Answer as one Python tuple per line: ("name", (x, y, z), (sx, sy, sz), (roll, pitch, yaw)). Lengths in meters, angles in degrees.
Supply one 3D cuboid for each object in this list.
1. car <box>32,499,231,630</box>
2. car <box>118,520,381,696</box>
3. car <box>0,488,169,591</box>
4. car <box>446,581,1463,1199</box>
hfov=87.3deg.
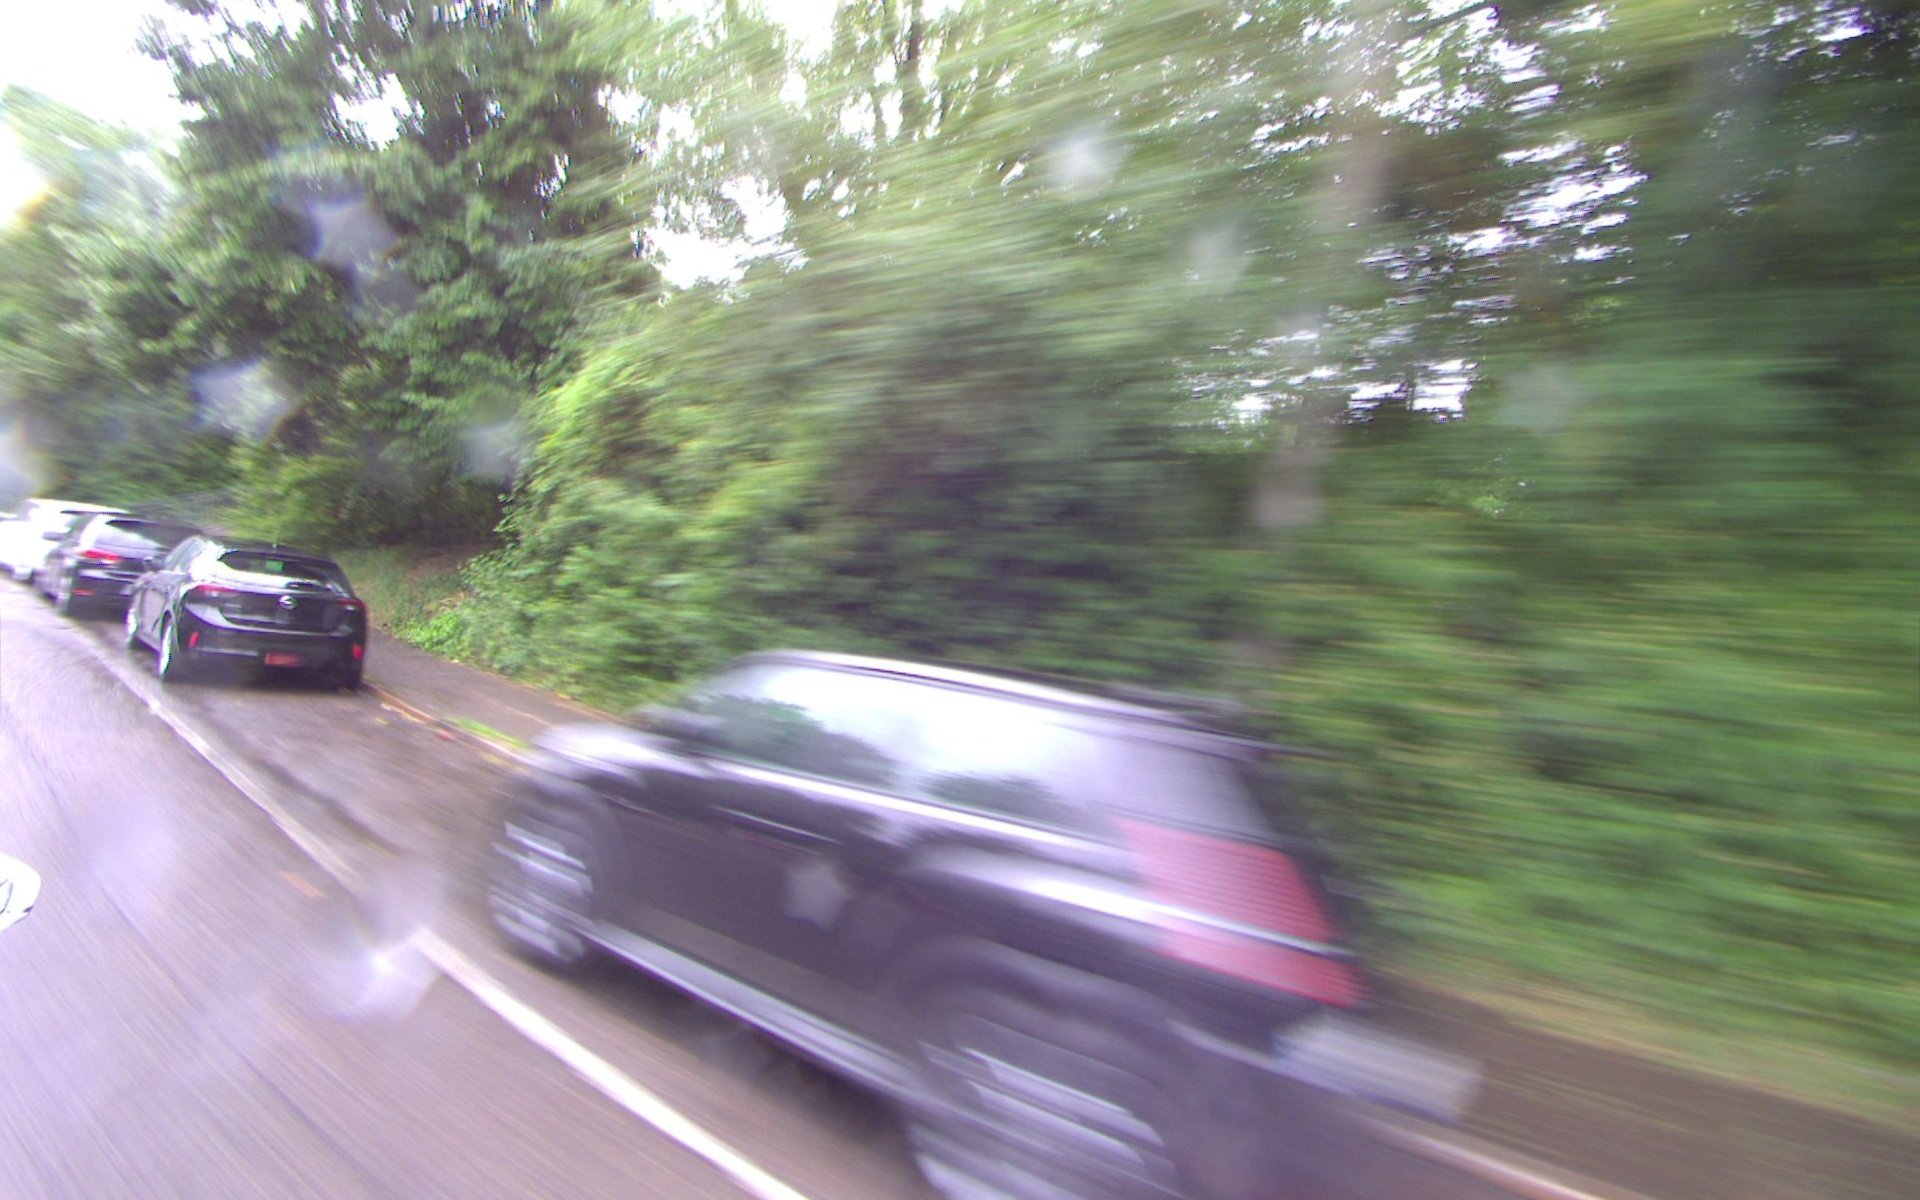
("car", (-12.369, -0.574, 14.931), (3.913, 1.441, 1.658), (8, 0, 42))
("car", (-7.966, 0.021, 11.142), (3.772, 1.405, 1.588), (7, -2, 44))
("car", (-16.244, -1.141, 18.379), (4.033, 1.417, 1.755), (8, 0, 37))
("car", (-0.275, 0.930, 3.996), (3.690, 1.504, 1.628), (6, -3, 39))
